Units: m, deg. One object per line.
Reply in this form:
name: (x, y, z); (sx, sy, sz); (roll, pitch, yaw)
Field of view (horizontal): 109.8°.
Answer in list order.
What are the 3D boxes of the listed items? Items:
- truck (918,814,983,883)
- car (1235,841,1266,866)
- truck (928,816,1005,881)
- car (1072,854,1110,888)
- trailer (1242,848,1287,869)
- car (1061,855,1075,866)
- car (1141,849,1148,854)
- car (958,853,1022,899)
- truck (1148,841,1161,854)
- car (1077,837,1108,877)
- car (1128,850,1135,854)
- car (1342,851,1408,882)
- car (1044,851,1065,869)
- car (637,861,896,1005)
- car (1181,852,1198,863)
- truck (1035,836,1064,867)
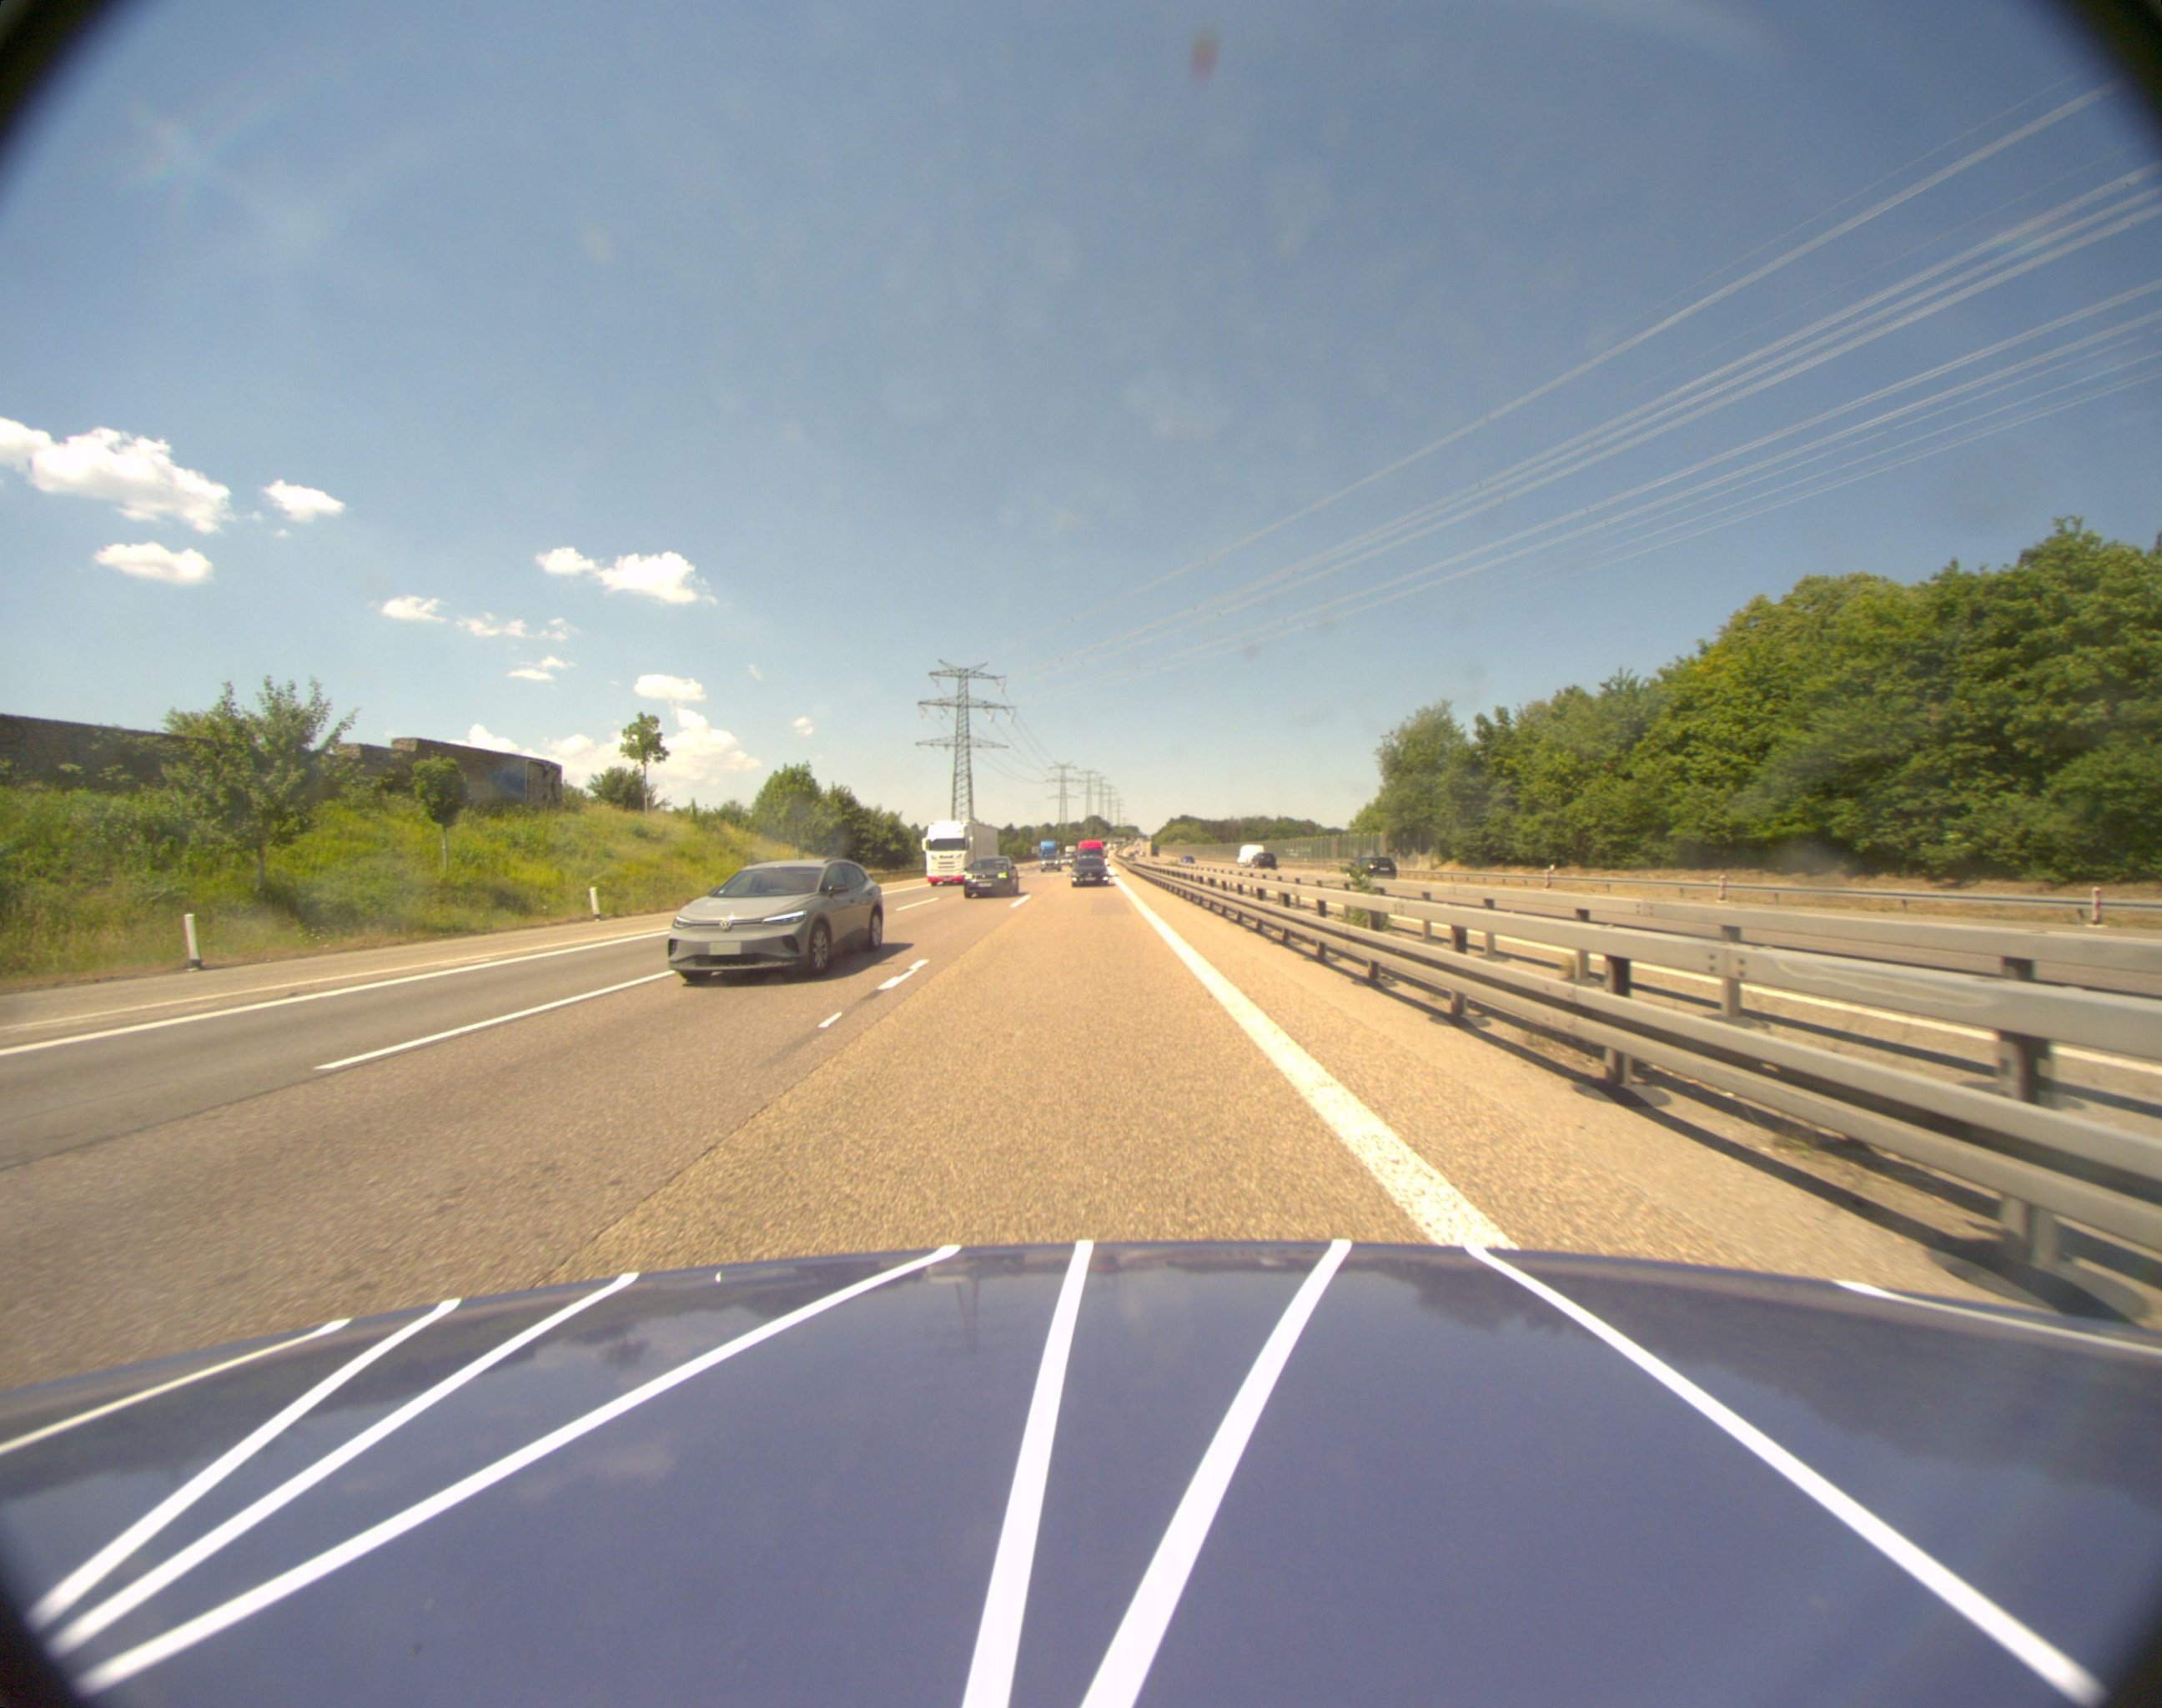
truck: (-7.815, -0.341, 46.023); (3.076, 3.885, 3.847); (-2, 0, 1)
car: (18.604, -0.101, 83.563); (2.114, 2.624, 6.004); (1, 0, 1)
truck: (-7.659, -0.357, 53.075); (3.076, 3.885, 12.504); (-2, 0, 1)
car: (0.498, 0.763, 36.578); (1.735, 1.535, 3.750); (0, 0, 1)
trailer: (18.588, 0.413, 77.188); (2.772, 1.934, 6.722); (1, 0, -1)
car: (-1.822, 0.981, 110.728); (1.879, 1.591, 3.688); (0, 0, 2)
car: (21.184, -0.838, 252.956); (1.786, 1.595, 4.047); (0, 0, -1)
car: (-3.609, 0.828, 30.894); (1.955, 1.636, 4.047); (-2, 0, 1)
truck: (24.376, -2.163, 253.375); (3.315, 4.113, 11.091); (1, 0, 1)
car: (0.824, 0.197, 52.539); (2.100, 2.598, 4.496); (0, 0, 2)
car: (15.570, -0.633, 234.723); (1.786, 1.465, 4.489); (0, 0, 1)
car: (17.705, 0.713, 46.023); (2.163, 1.789, 4.512); (1, 0, -1)
car: (-2.534, 0.581, 74.184); (1.749, 1.691, 4.088); (0, 0, 2)
car: (-4.384, 0.977, 11.528); (1.873, 1.627, 4.585); (-2, 0, 1)
car: (15.294, 0.428, 107.032); (1.786, 1.465, 4.355); (2, 0, 2)
truck: (-5.339, -0.482, 132.518); (3.797, 4.970, 14.924); (-2, 0, 1)
